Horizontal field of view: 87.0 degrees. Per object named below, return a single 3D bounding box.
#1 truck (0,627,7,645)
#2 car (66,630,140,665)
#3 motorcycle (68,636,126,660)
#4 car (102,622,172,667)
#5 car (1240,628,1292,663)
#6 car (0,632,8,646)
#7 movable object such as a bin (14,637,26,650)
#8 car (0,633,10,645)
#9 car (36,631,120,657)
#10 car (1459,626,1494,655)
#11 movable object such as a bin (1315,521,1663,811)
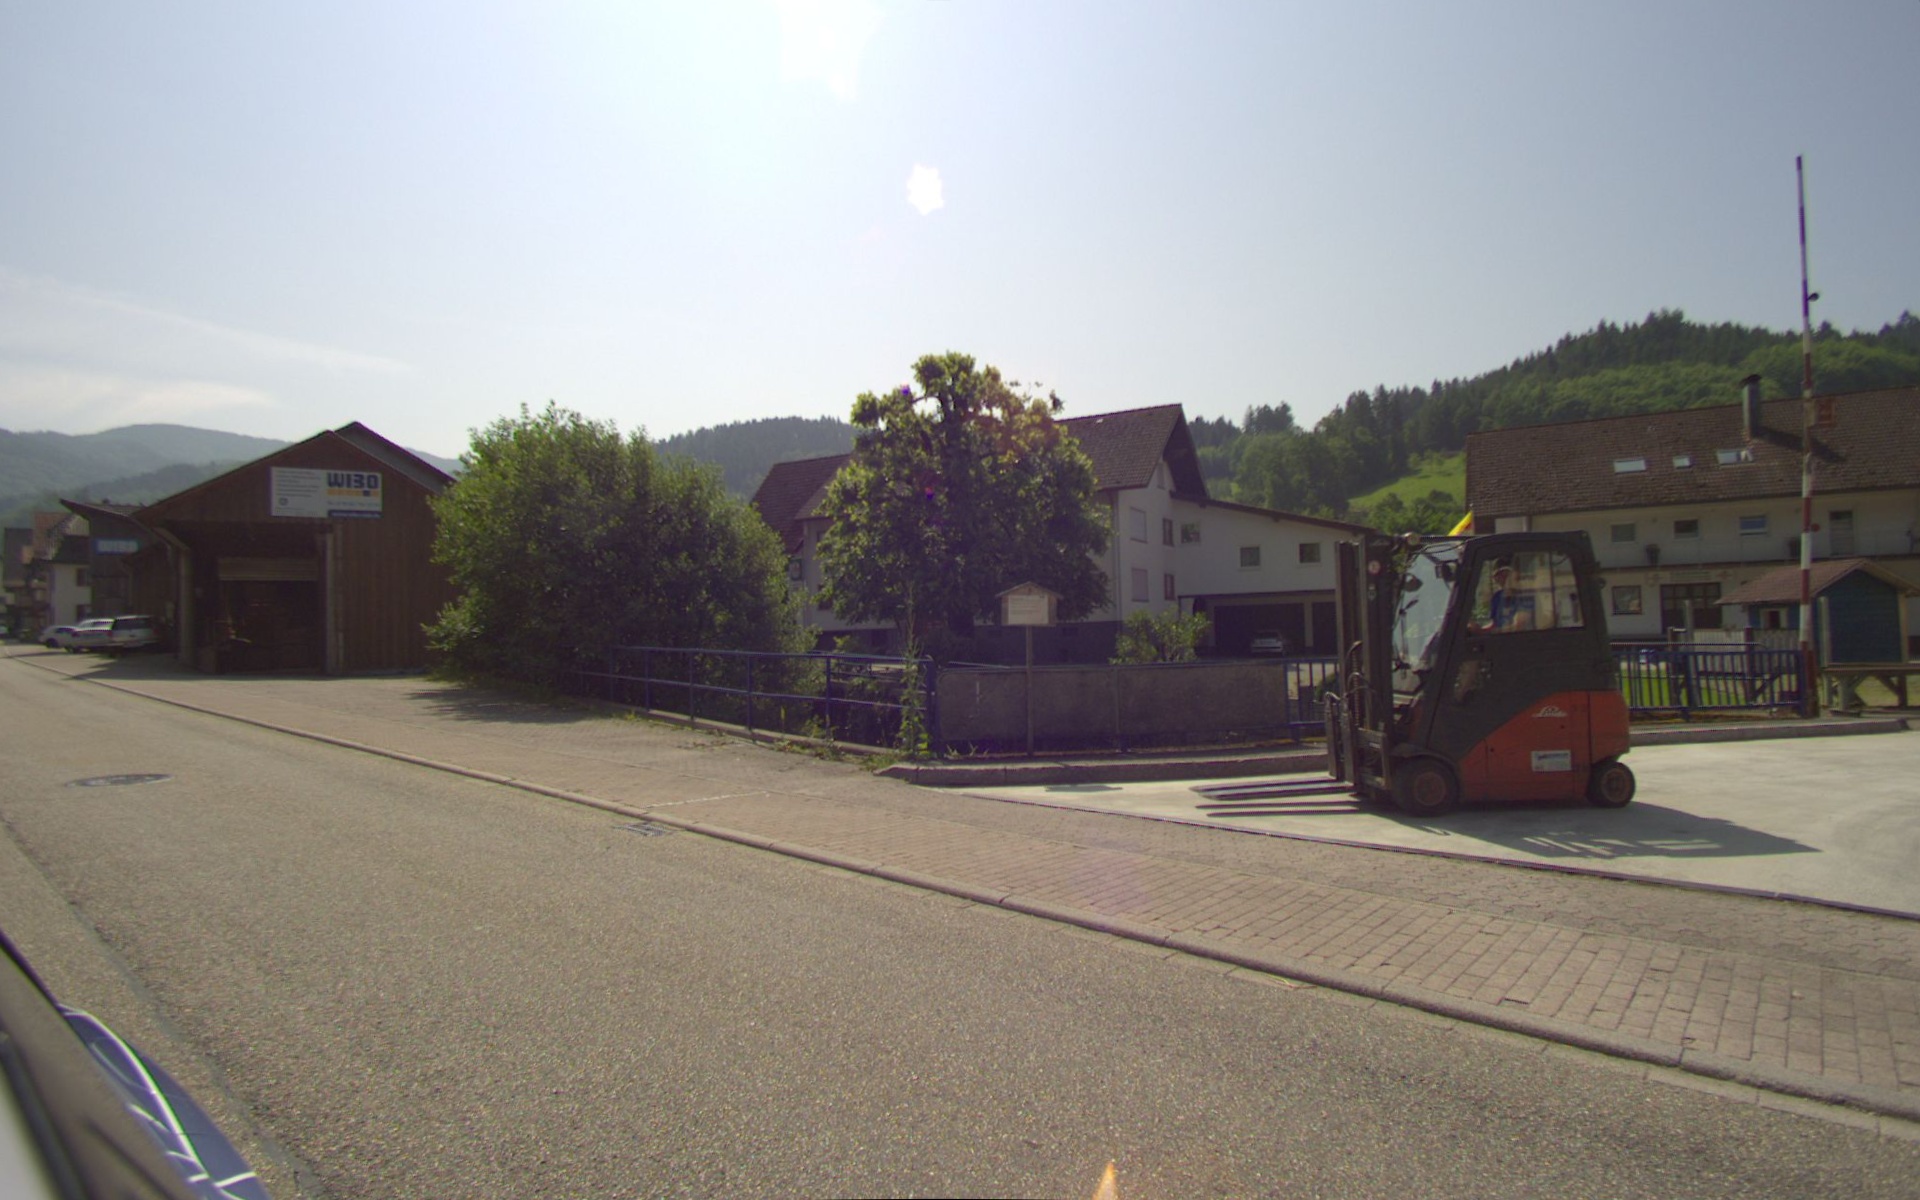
[{"bbox_3d":[-126.717,4.701,131.440,1.999,2.283,4.123,-2,-1,40],"label":"truck"},{"bbox_3d":[-38.720,2.169,45.834,1.705,1.465,4.818,0,-2,-30],"label":"car"},{"bbox_3d":[-48.380,2.683,56.796,2.376,1.274,0.745,1,-3,-34],"label":"motorcycle"},{"bbox_3d":[-32.127,1.716,39.592,1.559,1.582,4.034,-3,0,-32],"label":"car"},{"bbox_3d":[15.899,2.327,52.556,1.757,1.689,3.764,-1,-1,30],"label":"car"},{"bbox_3d":[-117.038,4.751,122.991,4.286,1.565,1.750,-2,-1,44],"label":"car"},{"bbox_3d":[-79.765,3.708,85.887,0.622,1.075,0.668,-2,-2,45],"label":"movable object such as a bin"},{"bbox_3d":[-123.030,4.997,128.067,1.754,1.514,4.048,-2,-3,44],"label":"car"},{"bbox_3d":[-55.739,2.802,64.039,3.608,1.396,1.716,5,-4,-28],"label":"car"},{"bbox_3d":[27.887,2.172,54.685,1.610,1.477,3.284,-1,-1,27],"label":"car"},{"bbox_3d":[4.064,0.496,7.955,2.094,2.088,1.137,0,-2,-4],"label":"movable object such as a bin"}]
